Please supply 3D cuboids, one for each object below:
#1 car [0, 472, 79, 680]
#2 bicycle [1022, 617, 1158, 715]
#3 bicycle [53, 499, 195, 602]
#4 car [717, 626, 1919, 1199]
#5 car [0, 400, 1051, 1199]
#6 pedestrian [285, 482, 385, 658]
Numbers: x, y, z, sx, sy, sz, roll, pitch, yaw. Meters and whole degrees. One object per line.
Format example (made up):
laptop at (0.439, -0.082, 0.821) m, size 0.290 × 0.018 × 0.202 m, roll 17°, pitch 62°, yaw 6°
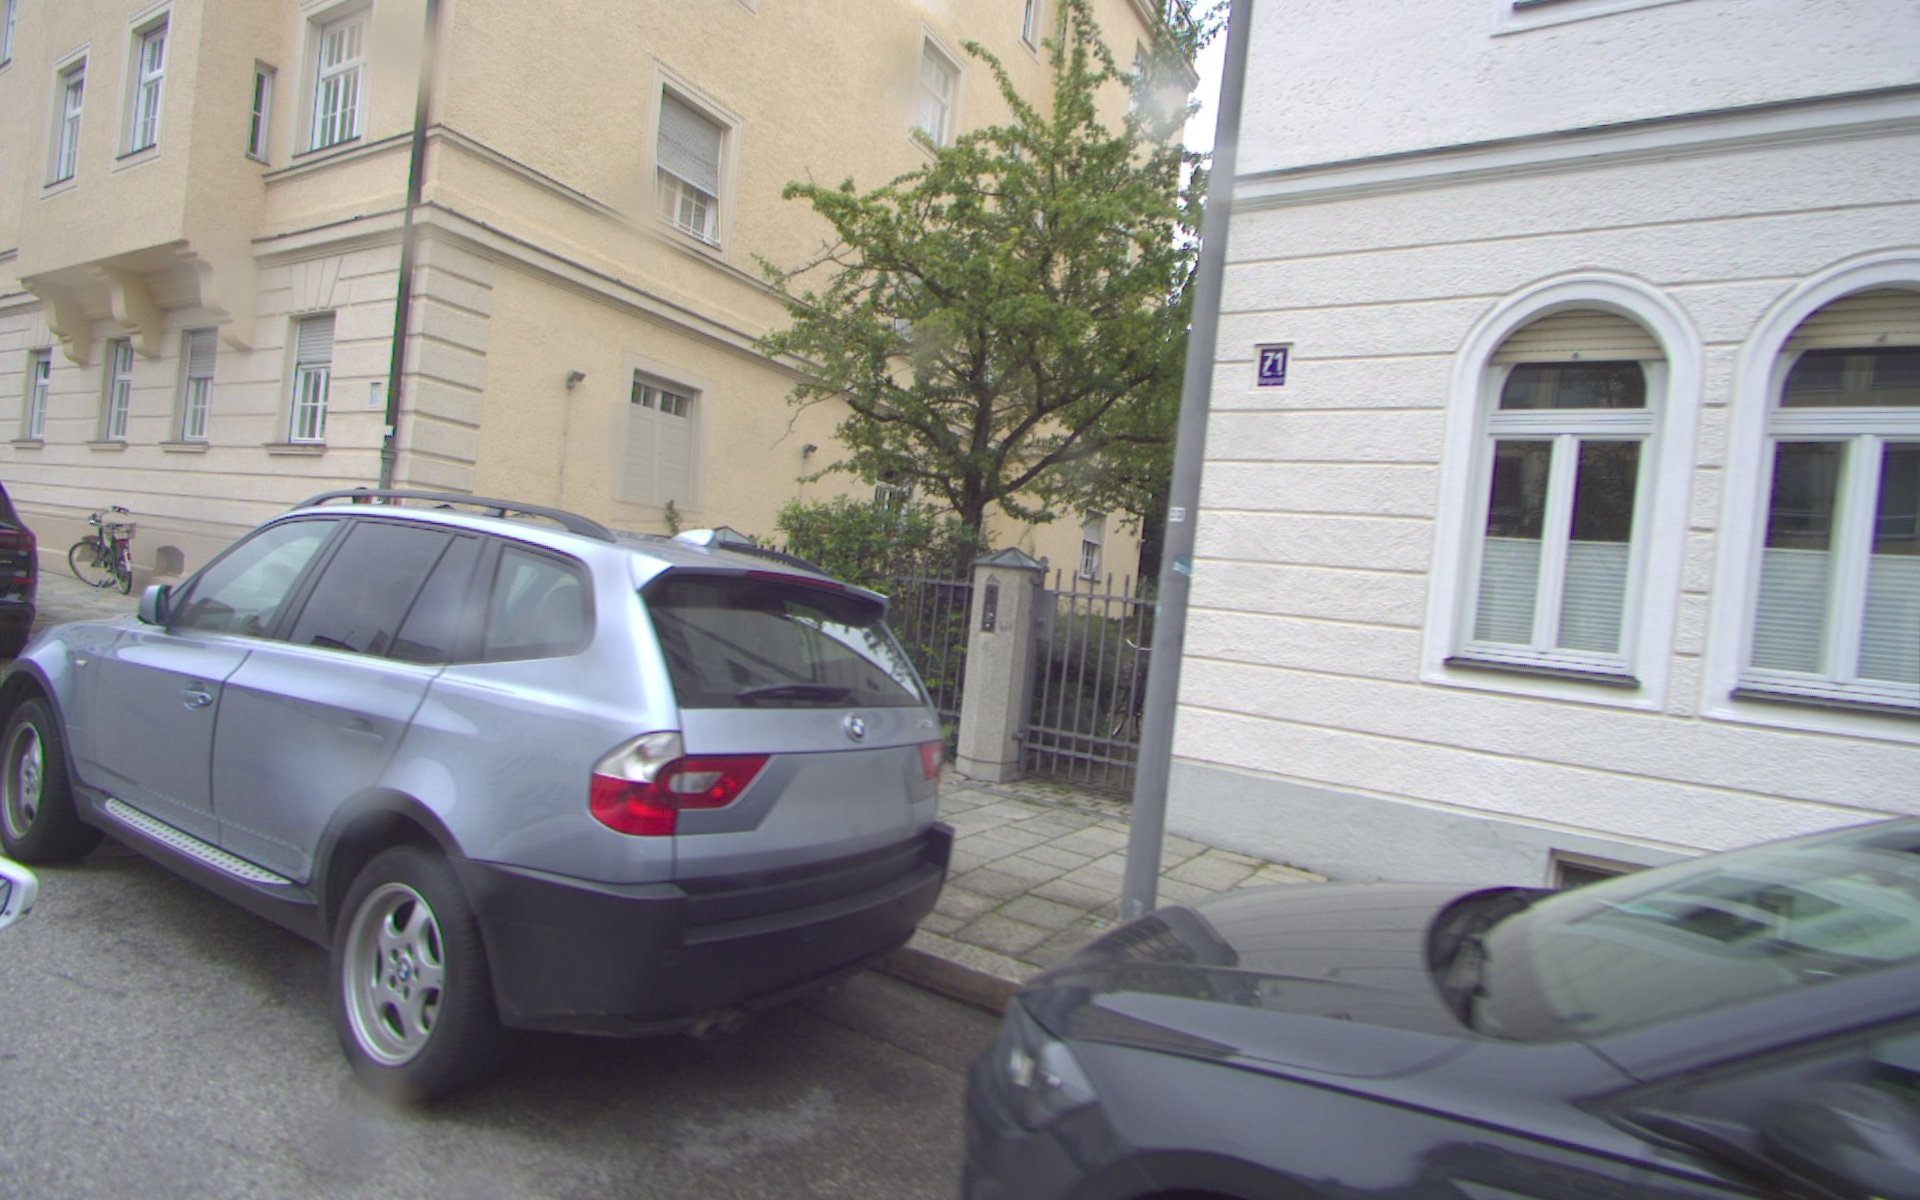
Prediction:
car at (-10.329, -0.510, 9.294) m, size 4.610 × 1.750 × 1.931 m, roll 8°, pitch -1°, yaw 32°
bicycle at (1.788, 0.897, 14.113) m, size 1.907 × 1.152 × 0.356 m, roll 5°, pitch -2°, yaw 42°
bicycle at (-12.115, -0.731, 14.545) m, size 2.601 × 1.262 × 0.702 m, roll 6°, pitch 0°, yaw 32°
car at (1.673, 1.030, 1.717) m, size 3.990 × 1.458 × 1.706 m, roll 6°, pitch -2°, yaw 32°
car at (-2.050, 0.369, 3.975) m, size 4.318 × 1.750 × 1.781 m, roll 6°, pitch -2°, yaw 32°
pedestrian at (-6.819, -0.314, 11.010) m, size 0.677 × 1.781 × 0.689 m, roll 7°, pitch -1°, yaw -27°
